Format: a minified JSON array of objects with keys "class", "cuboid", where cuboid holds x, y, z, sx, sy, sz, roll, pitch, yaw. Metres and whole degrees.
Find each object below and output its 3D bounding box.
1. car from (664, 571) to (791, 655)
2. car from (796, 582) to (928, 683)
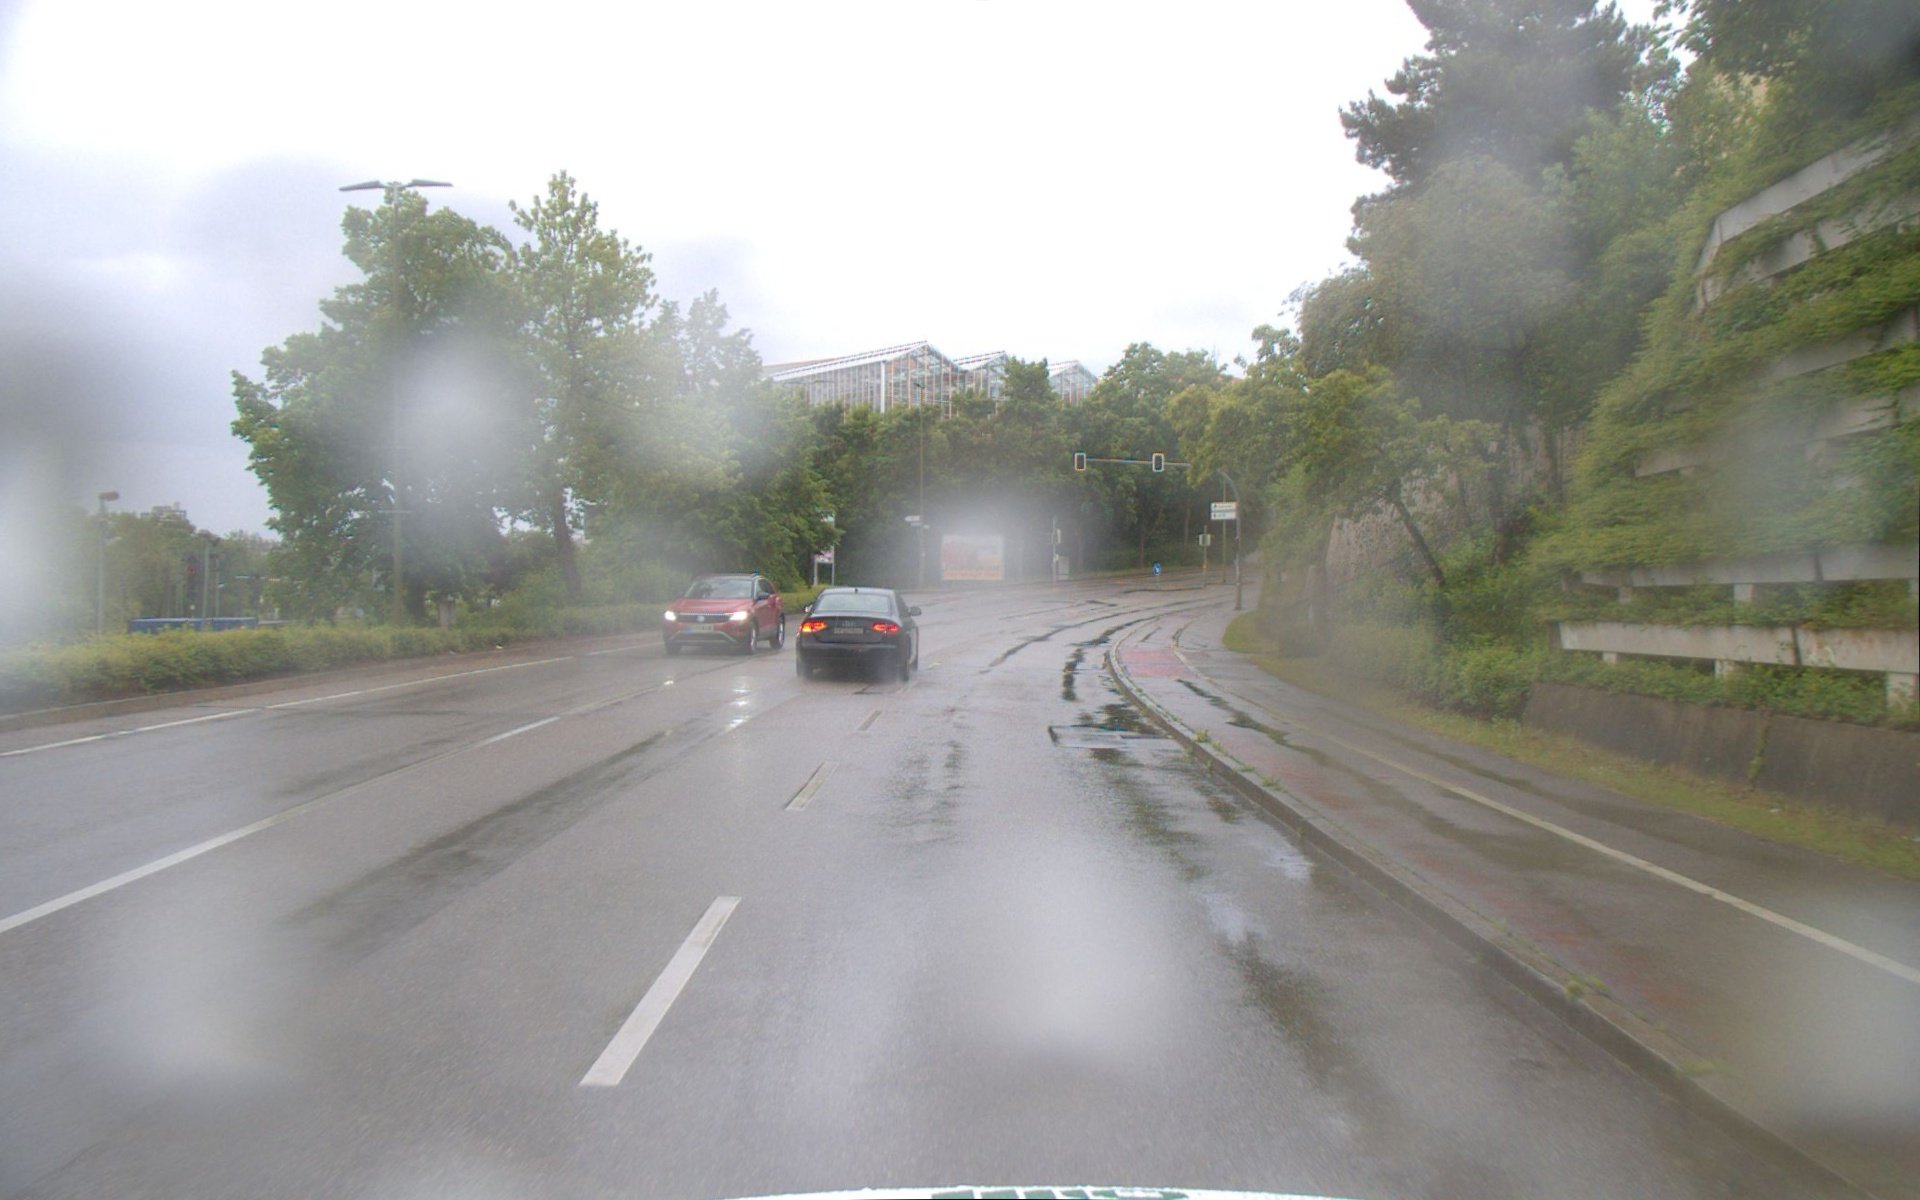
[{"class":"car","cuboid":[-4.661,0.209,33.682,1.717,1.562,4.003,0,2,5]},{"class":"car","cuboid":[-1.485,0.456,26.474,1.718,1.420,4.002,1,1,2]}]
